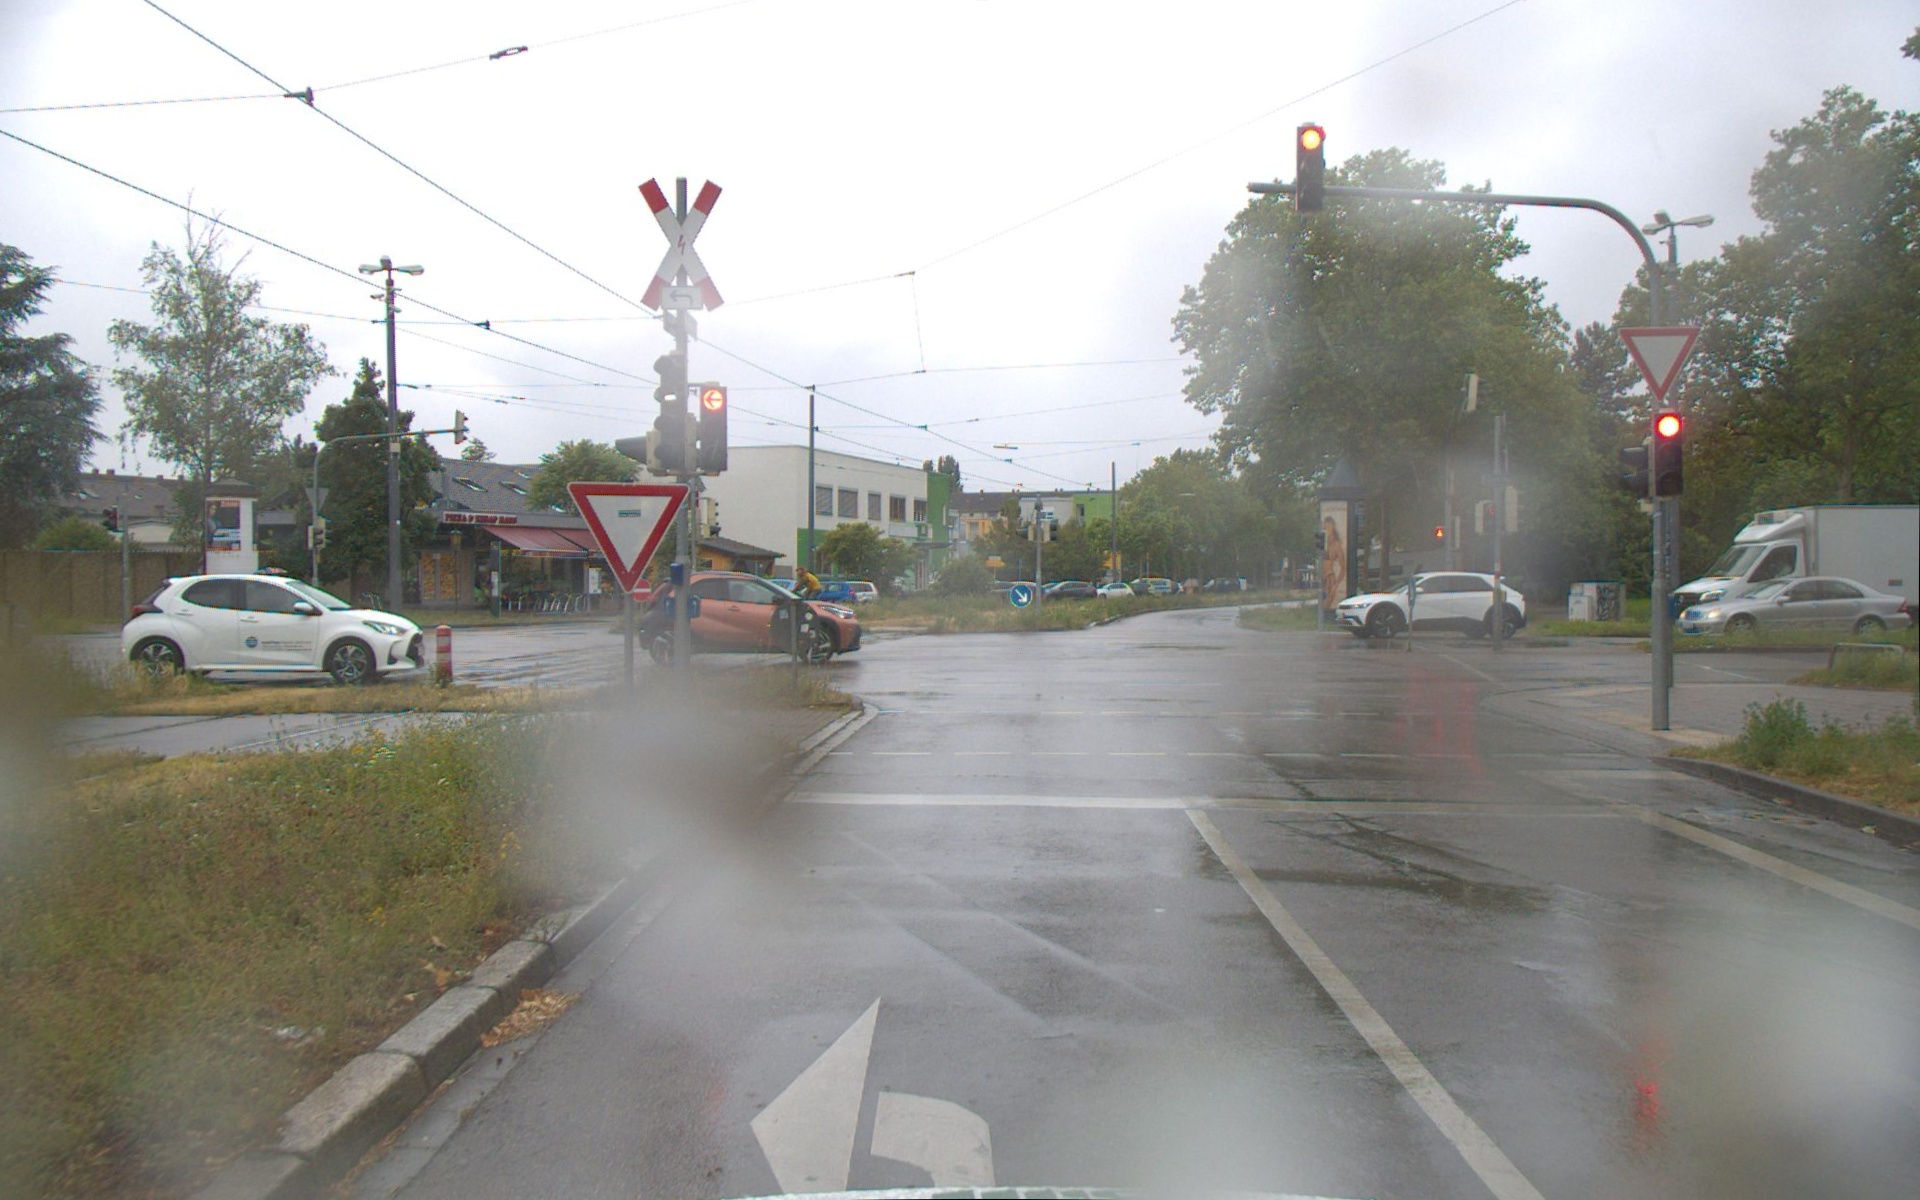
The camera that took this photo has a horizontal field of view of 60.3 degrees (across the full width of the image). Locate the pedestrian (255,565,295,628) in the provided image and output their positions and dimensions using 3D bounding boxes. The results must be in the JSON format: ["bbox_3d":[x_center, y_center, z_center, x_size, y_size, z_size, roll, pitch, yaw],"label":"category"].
[{"bbox_3d":[-19.777,-0.097,47.756,0.797,1.794,0.894,-1,0,-45],"label":"pedestrian"}]

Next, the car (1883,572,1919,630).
[{"bbox_3d":[25.847,0.010,41.785,4.115,1.447,1.765,0,0,-1],"label":"car"}]

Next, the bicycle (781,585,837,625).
[{"bbox_3d":[-4.313,0.134,47.262,1.529,1.121,0.500,-1,0,2],"label":"bicycle"}]

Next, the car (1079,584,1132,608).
[{"bbox_3d":[11.746,-0.310,133.758,4.054,1.892,1.672,-1,0,-5],"label":"car"}]

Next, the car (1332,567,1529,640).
[{"bbox_3d":[11.584,0.071,40.828,4.374,1.685,1.650,-1,0,-6],"label":"car"}]

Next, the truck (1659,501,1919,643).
[{"bbox_3d":[18.938,-0.628,37.511,5.359,3.112,1.980,0,0,-3],"label":"truck"}]

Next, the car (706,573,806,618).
[{"bbox_3d":[-8.872,-0.194,72.140,4.047,1.892,1.675,-1,0,6],"label":"car"}]

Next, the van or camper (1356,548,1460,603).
[{"bbox_3d":[23.521,-1.292,86.743,5.111,2.744,2.244,2,1,18],"label":"van or camper"}]

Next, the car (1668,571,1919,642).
[{"bbox_3d":[17.185,0.133,34.189,4.422,1.414,1.643,0,0,-3],"label":"car"}]

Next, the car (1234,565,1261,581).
[{"bbox_3d":[38.076,-3.529,219.058,3.371,2.049,1.809,-1,0,17],"label":"car"}]

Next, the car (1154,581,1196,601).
[{"bbox_3d":[20.914,-0.844,160.876,4.047,1.892,1.675,-1,0,6],"label":"car"}]

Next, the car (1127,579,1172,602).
[{"bbox_3d":[17.357,-0.886,151.628,4.047,2.010,1.675,-1,0,6],"label":"car"}]

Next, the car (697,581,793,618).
[{"bbox_3d":[-8.922,-0.016,68.683,3.672,1.467,1.763,-1,0,3],"label":"car"}]

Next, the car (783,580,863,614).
[{"bbox_3d":[-6.411,-0.147,77.101,3.678,1.467,1.760,-1,0,-7],"label":"car"}]

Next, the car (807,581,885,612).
[{"bbox_3d":[-5.564,-0.184,80.389,3.678,1.467,1.760,-1,0,-7],"label":"car"}]

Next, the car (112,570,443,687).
[{"bbox_3d":[-9.531,0.373,23.347,3.989,1.525,1.649,-1,0,-8],"label":"car"}]

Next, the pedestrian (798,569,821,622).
[{"bbox_3d":[-4.306,-0.138,47.261,0.564,1.501,0.500,-1,0,2],"label":"pedestrian"}]

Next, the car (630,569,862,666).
[{"bbox_3d":[-3.574,0.278,27.870,3.745,1.525,1.650,-1,0,-7],"label":"car"}]
